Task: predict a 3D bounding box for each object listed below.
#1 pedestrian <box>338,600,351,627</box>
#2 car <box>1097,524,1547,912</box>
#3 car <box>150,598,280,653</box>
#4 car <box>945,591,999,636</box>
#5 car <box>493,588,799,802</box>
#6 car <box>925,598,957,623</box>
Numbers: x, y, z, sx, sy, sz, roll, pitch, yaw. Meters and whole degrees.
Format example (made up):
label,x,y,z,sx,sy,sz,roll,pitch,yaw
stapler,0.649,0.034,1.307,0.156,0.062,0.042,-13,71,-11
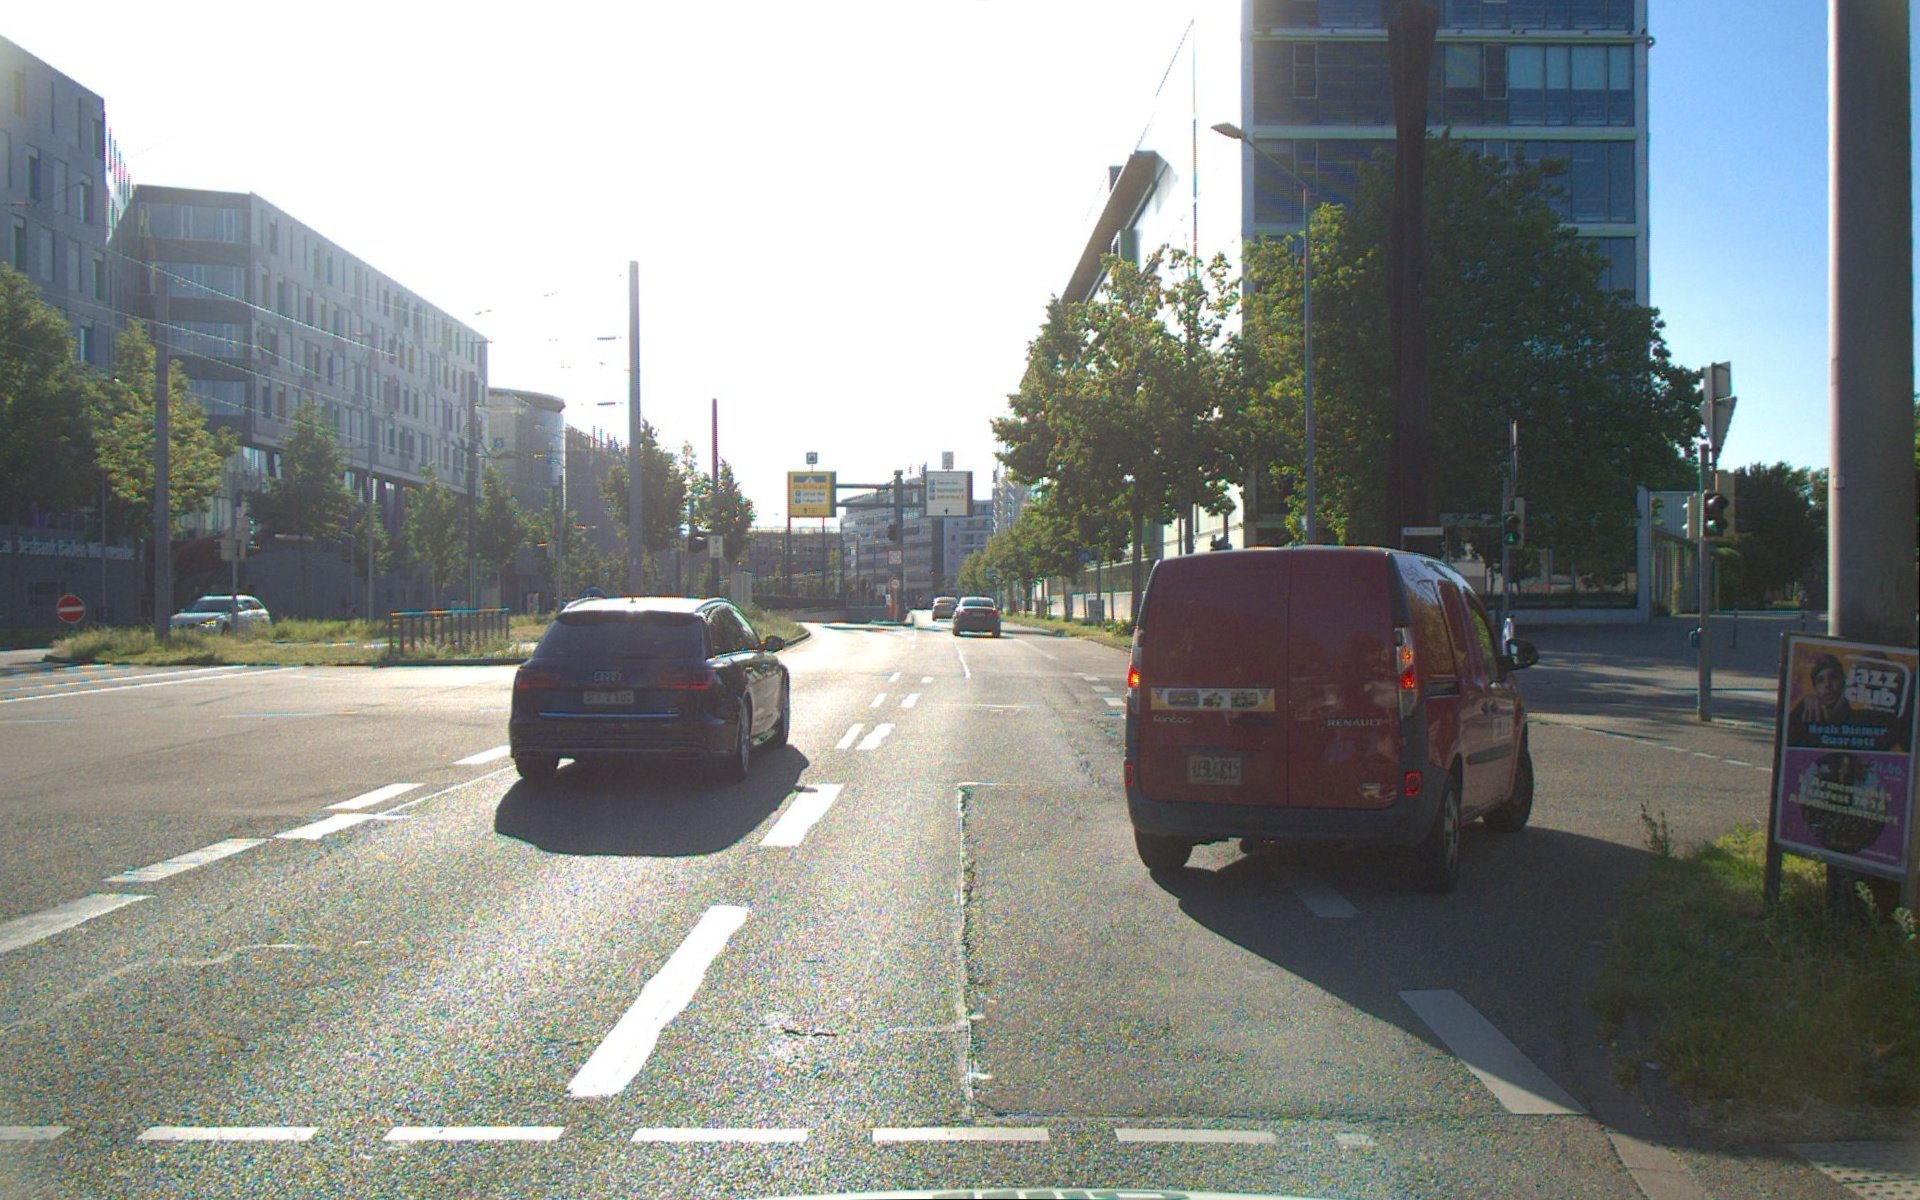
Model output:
label,x,y,z,sx,sy,sz,roll,pitch,yaw
pedestrian,-46.084,1.010,123.866,0.721,2.049,0.689,0,-1,-1
car,2.425,0.572,10.160,1.812,1.846,4.111,1,0,25
car,-22.631,0.746,50.469,1.954,1.589,4.869,0,0,-3
car,0.420,0.485,61.189,1.815,1.573,3.998,1,0,-2
car,-2.552,0.687,14.578,1.775,1.452,4.690,2,1,0
car,-1.191,0.642,103.908,1.953,1.491,4.000,1,1,-1
